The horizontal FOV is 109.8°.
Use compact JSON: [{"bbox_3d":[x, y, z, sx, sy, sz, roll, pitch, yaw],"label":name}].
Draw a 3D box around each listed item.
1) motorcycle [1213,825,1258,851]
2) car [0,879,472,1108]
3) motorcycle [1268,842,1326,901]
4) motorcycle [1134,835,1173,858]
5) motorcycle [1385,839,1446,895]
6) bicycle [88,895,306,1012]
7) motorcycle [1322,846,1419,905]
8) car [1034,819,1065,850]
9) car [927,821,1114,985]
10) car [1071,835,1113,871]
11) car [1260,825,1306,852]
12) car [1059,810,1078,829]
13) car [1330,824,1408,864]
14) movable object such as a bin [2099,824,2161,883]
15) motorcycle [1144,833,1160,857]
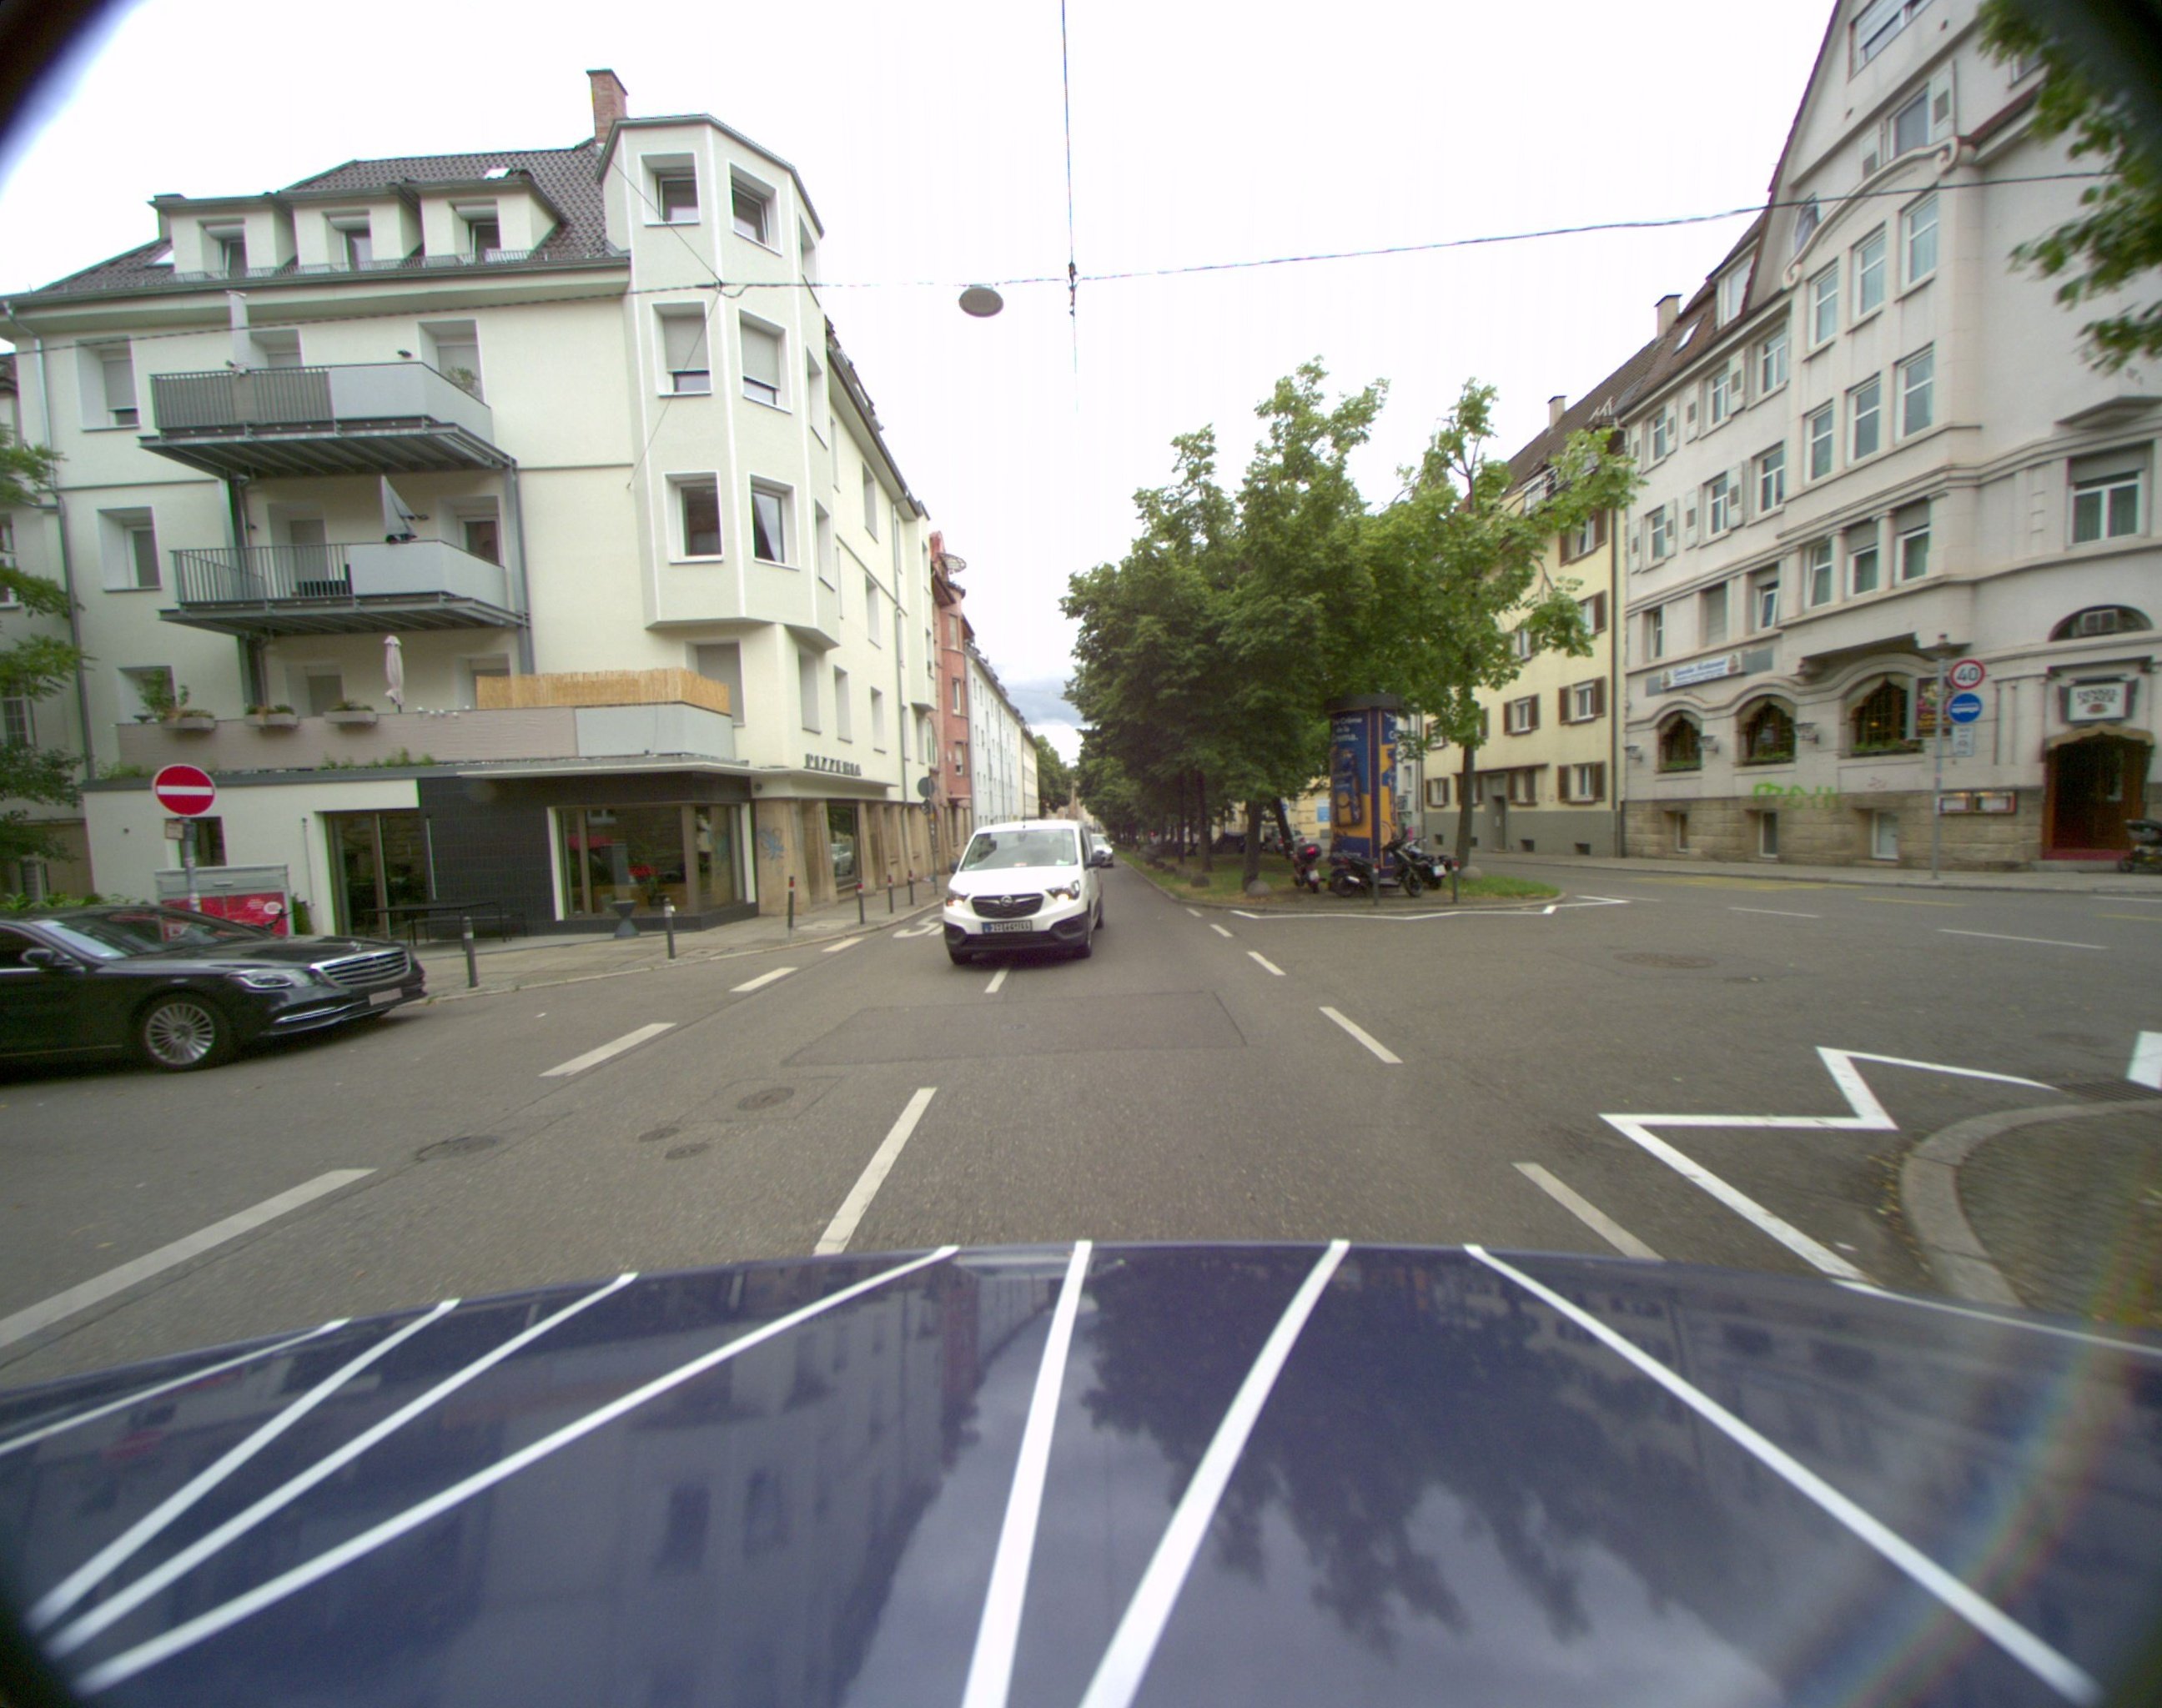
[{"bbox_3d":[8.990,-0.939,44.321,2.424,1.475,0.963,-1,4,1],"label":"motorcycle"},{"bbox_3d":[-9.424,1.327,7.250,5.141,1.541,2.237,-6,2,-4],"label":"car"},{"bbox_3d":[4.795,0.348,17.038,0.888,1.090,2.481,-2,4,8],"label":"motorcycle"},{"bbox_3d":[3.946,-0.416,41.236,2.041,1.126,0.454,-3,4,1],"label":"motorcycle"},{"bbox_3d":[7.393,0.254,16.856,0.750,1.068,1.851,-2,4,8],"label":"motorcycle"},{"bbox_3d":[-10.251,1.132,8.874,1.501,1.147,0.633,-3,5,-8],"label":"bicycle"},{"bbox_3d":[5.823,0.427,15.326,1.735,1.090,0.550,-2,4,5],"label":"motorcycle"},{"bbox_3d":[-3.289,-2.127,81.243,3.026,3.045,7.165,-1,3,0],"label":"car"},{"bbox_3d":[-0.593,0.477,11.246,1.853,1.815,5.020,-3,2,5],"label":"car"},{"bbox_3d":[0.588,-0.110,36.605,1.854,1.595,4.562,-2,1,2],"label":"car"},{"bbox_3d":[12.562,-1.004,47.493,1.818,1.554,4.254,-2,1,2],"label":"car"},{"bbox_3d":[-1.985,-5.734,126.252,3.026,3.045,7.165,-1,3,0],"label":"car"},{"bbox_3d":[12.293,-0.446,32.699,1.818,1.554,4.416,-2,1,2],"label":"car"},{"bbox_3d":[19.155,-0.019,13.632,0.888,0.988,0.668,-4,2,0],"label":"movable object such as a bin"},{"bbox_3d":[4.127,-0.547,44.179,0.454,1.299,1.627,-4,4,-10],"label":"motorcycle"}]
